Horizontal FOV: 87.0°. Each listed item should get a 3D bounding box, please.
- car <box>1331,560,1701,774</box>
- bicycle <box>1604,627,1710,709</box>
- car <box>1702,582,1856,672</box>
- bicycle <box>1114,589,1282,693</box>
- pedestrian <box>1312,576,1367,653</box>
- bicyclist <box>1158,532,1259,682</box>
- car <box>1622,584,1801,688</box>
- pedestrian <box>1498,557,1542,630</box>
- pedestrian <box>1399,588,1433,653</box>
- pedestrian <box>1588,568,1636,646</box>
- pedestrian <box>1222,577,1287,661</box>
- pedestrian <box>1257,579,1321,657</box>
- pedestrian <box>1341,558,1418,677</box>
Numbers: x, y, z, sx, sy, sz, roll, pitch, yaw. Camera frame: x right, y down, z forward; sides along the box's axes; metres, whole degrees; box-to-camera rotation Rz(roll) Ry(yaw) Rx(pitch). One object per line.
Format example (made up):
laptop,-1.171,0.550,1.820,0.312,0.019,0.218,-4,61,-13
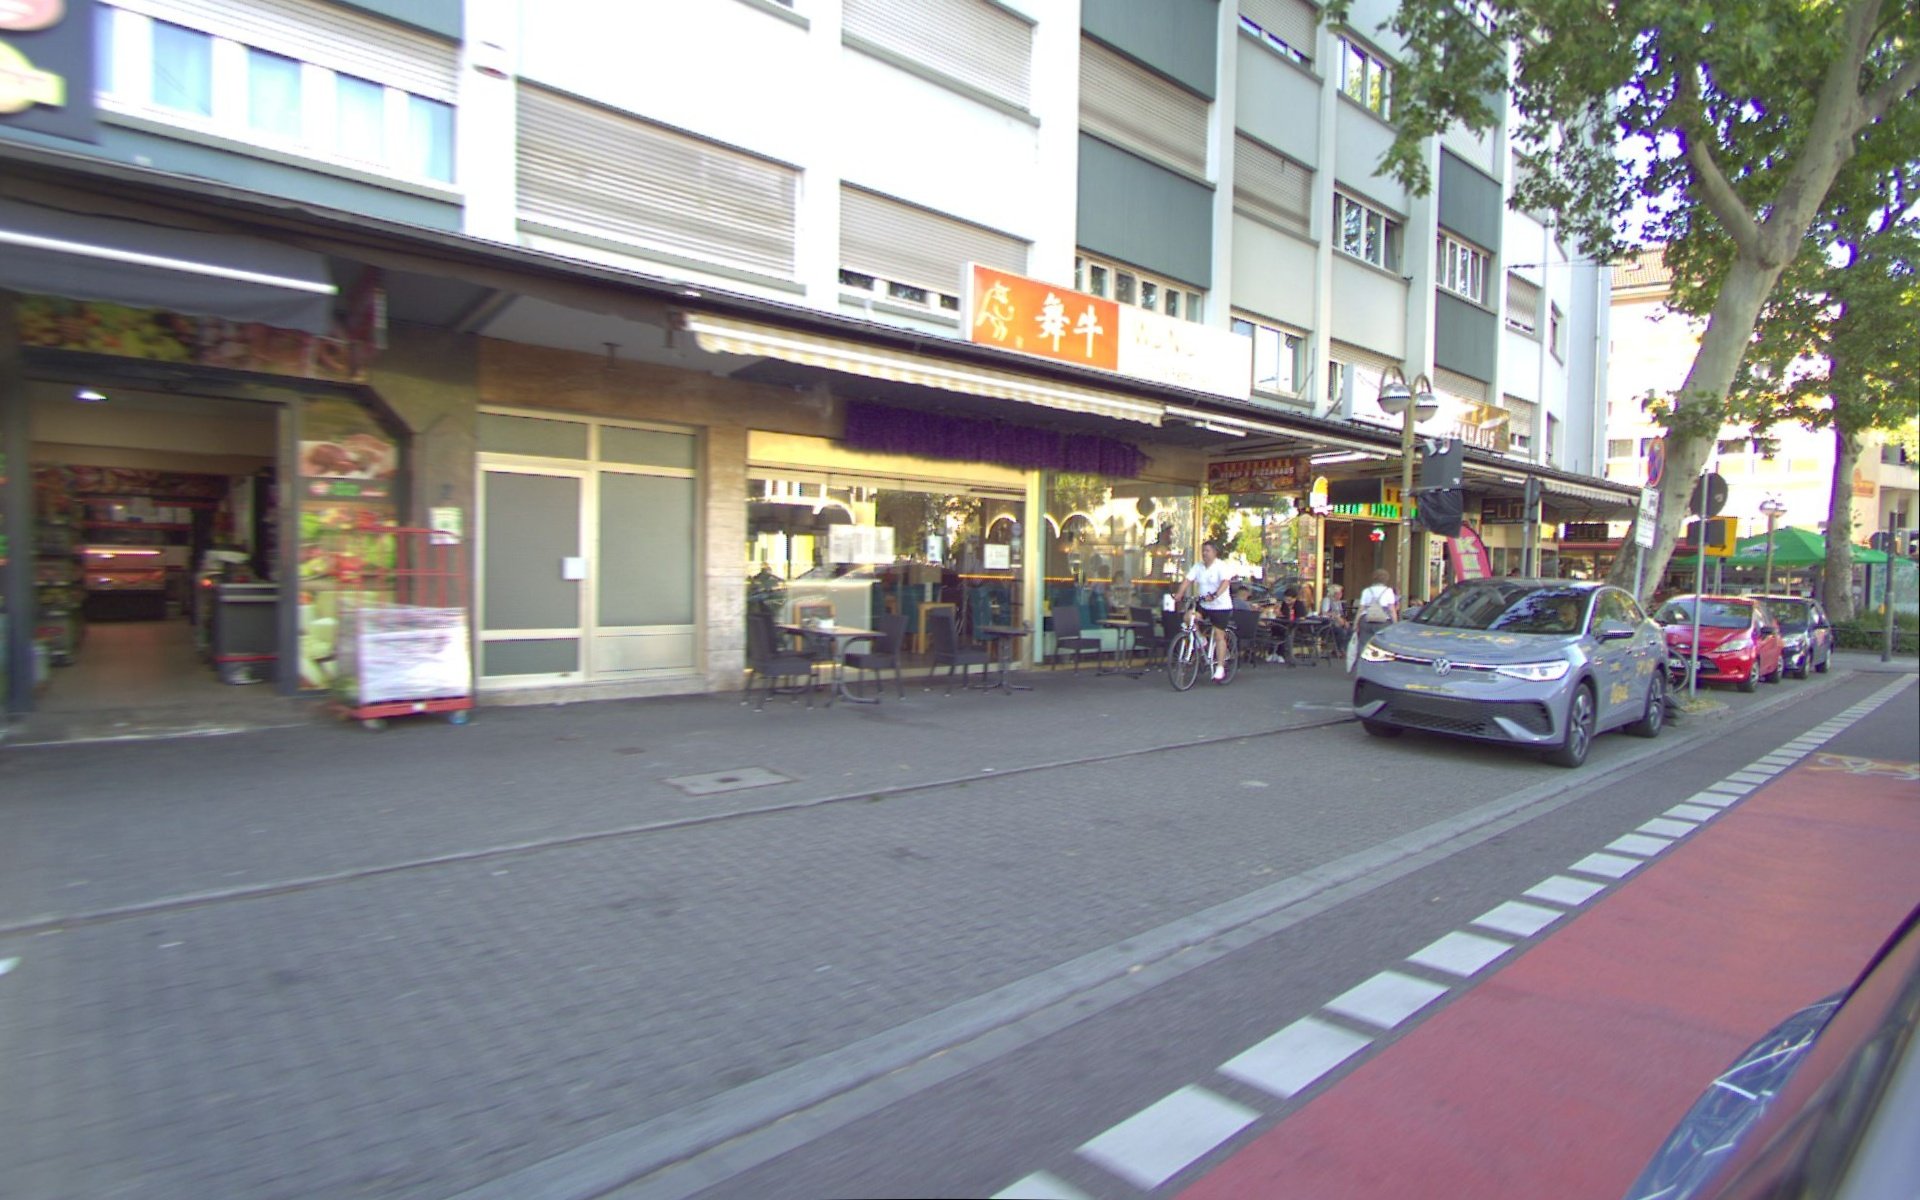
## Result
car,5.791,0.487,10.235,4.712,1.617,1.920,0,3,-44
bicycle,8.983,0.838,13.011,2.004,0.895,0.625,0,4,-42
car,15.908,0.457,19.600,3.735,1.497,1.659,0,3,-41
bicycle,2.945,0.461,12.363,2.227,1.117,0.778,0,4,-40
pedestrian,6.612,0.238,17.624,0.596,1.281,0.646,0,2,-41
bicyclist,3.039,0.064,12.386,0.815,1.729,0.771,0,4,-40
car,12.580,0.511,16.859,3.918,1.460,1.732,0,3,-44
pedestrian,13.488,-0.171,24.370,0.666,1.730,0.709,0,1,-41
pedestrian,8.427,0.371,18.691,0.514,1.148,0.504,3,2,28
pedestrian,13.696,0.134,21.261,0.630,1.579,0.584,0,4,-39
pedestrian,4.544,0.283,15.601,0.698,1.243,0.677,0,2,-43
pedestrian,5.278,0.278,16.244,0.698,1.191,0.677,0,2,-41
pedestrian,5.883,0.226,14.200,0.666,1.605,0.709,0,3,-42
